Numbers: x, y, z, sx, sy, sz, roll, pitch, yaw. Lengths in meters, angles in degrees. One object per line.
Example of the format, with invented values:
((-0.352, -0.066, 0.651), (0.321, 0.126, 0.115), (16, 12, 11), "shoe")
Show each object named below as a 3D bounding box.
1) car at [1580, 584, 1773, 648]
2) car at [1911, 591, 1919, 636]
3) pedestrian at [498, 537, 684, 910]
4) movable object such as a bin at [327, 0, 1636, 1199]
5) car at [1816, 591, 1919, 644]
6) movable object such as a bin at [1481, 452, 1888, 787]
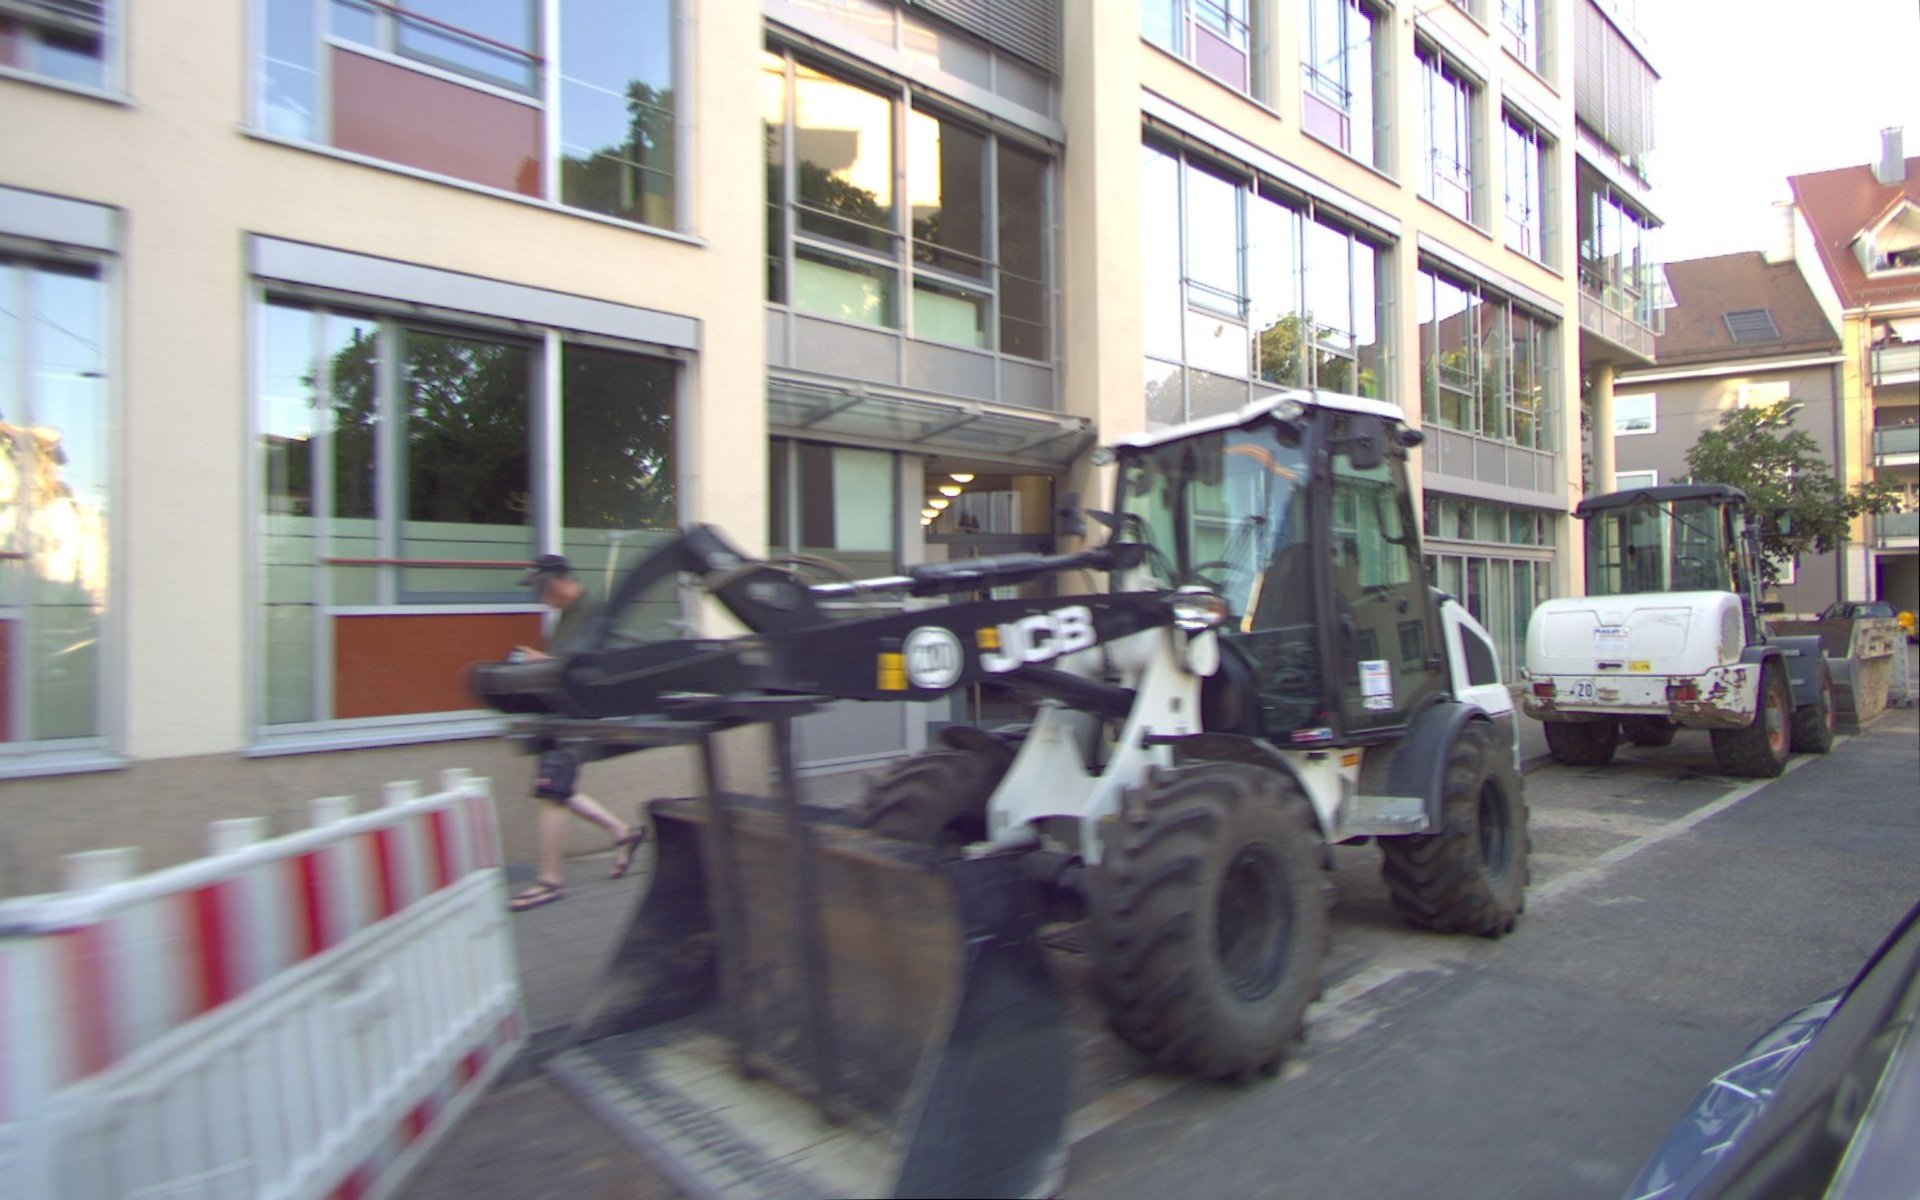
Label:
((20.482, 0.422, 29.194), (4.356, 1.717, 1.979), (0, 1, 31), "car")
((31.424, 0.516, 31.346), (1.730, 1.420, 4.208), (0, 2, 27), "car")
((-2.027, 0.605, 5.543), (0.709, 1.842, 0.806), (-1, 0, -41), "pedestrian")
((0.724, 0.264, 4.354), (5.648, 2.657, 2.019), (0, -3, -40), "movable object such as a bin")
((29.125, 0.517, 32.502), (1.617, 1.468, 3.822), (0, 2, 27), "car")
((7.812, 0.155, 10.637), (5.649, 2.657, 2.019), (-1, -2, -40), "movable object such as a bin")
